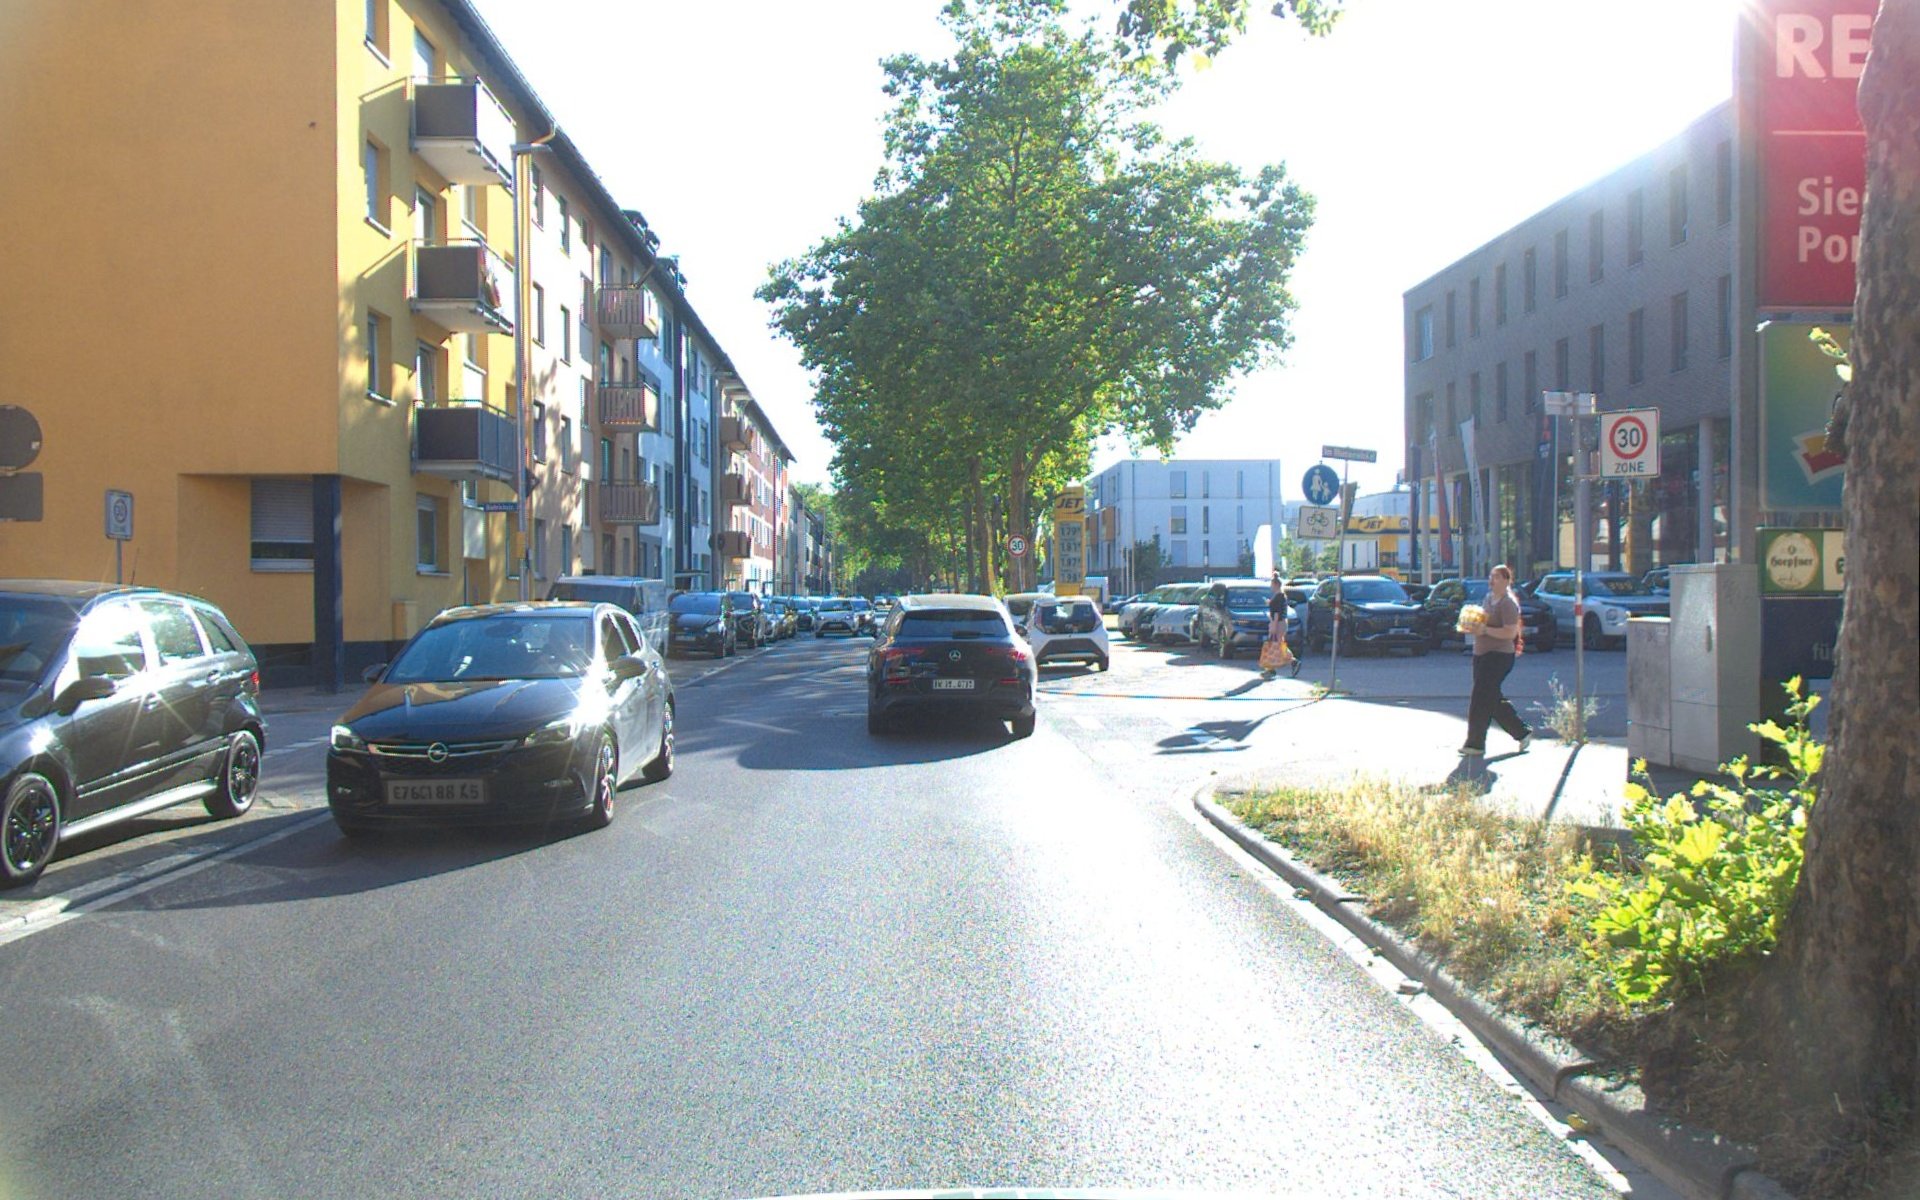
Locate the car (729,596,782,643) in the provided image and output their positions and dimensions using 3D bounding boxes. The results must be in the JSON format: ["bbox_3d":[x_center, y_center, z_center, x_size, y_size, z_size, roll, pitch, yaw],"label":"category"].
[{"bbox_3d":[-7.035,0.642,57.226,1.517,1.550,4.003,1,0,-3],"label":"car"}]

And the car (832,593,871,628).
[{"bbox_3d":[-5.121,0.454,78.468,1.630,1.550,4.410,-2,0,-2],"label":"car"}]

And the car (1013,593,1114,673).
[{"bbox_3d":[2.084,0.659,34.336,1.602,1.493,4.018,-2,0,-3],"label":"car"}]

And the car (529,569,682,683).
[{"bbox_3d":[-6.484,0.436,30.799,1.698,1.940,5.208,0,0,0],"label":"car"}]

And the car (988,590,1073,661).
[{"bbox_3d":[1.699,0.617,41.174,1.774,1.565,4.582,-3,0,-1],"label":"car"}]

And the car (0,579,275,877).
[{"bbox_3d":[-5.819,0.651,10.015,1.643,1.550,4.021,1,0,0],"label":"car"}]

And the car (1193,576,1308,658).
[{"bbox_3d":[6.454,0.348,37.152,1.717,1.699,4.156,-1,0,-2],"label":"car"}]

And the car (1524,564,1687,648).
[{"bbox_3d":[14.631,0.119,37.732,1.838,1.764,4.177,-1,0,-4],"label":"car"}]

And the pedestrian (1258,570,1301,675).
[{"bbox_3d":[5.414,0.376,27.980,0.677,1.753,0.722,-1,0,12],"label":"pedestrian"}]

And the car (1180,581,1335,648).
[{"bbox_3d":[7.457,0.336,41.346,3.776,1.572,1.642,-1,0,-36],"label":"car"}]

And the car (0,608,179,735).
[{"bbox_3d":[-12.680,0.937,22.023,3.707,1.594,1.748,-1,0,-1],"label":"car"}]

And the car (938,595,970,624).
[{"bbox_3d":[-0.343,0.549,93.878,1.600,1.585,3.599,1,0,-3],"label":"car"}]

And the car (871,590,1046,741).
[{"bbox_3d":[0.078,0.641,18.361,1.708,1.469,3.970,1,0,3],"label":"car"}]

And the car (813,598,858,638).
[{"bbox_3d":[-4.983,0.702,66.554,1.606,1.550,3.932,0,0,-2],"label":"car"}]

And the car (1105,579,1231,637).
[{"bbox_3d":[6.419,0.224,50.800,3.783,1.606,1.722,-2,1,-40],"label":"car"}]

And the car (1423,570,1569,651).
[{"bbox_3d":[12.028,0.215,37.410,1.693,1.714,4.177,-1,0,-4],"label":"car"}]

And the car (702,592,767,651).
[{"bbox_3d":[-6.778,0.622,50.059,1.565,1.669,4.410,1,0,-3],"label":"car"}]

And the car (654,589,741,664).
[{"bbox_3d":[-6.742,0.643,42.861,1.710,1.819,4.546,1,0,-3],"label":"car"}]

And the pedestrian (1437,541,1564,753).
[{"bbox_3d":[4.762,0.397,14.592,0.757,1.792,0.659,-2,0,-23],"label":"pedestrian"}]

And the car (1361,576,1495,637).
[{"bbox_3d":[12.906,0.154,45.576,3.780,1.537,1.621,-2,1,-38],"label":"car"}]

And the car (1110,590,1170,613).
[{"bbox_3d":[12.511,0.120,115.296,3.908,1.556,1.806,0,-1,-4],"label":"car"}]

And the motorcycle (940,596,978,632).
[{"bbox_3d":[-0.043,0.624,74.594,1.620,1.585,0.607,1,-1,-24],"label":"motorcycle"}]

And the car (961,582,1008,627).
[{"bbox_3d":[0.914,0.179,62.870,1.528,1.624,3.599,1,0,-3],"label":"car"}]

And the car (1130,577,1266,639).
[{"bbox_3d":[6.805,0.207,47.133,3.783,1.606,1.716,-2,1,-40],"label":"car"}]

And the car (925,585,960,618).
[{"bbox_3d":[-1.135,0.107,107.095,1.955,2.049,3.995,0,-1,-5],"label":"car"}]

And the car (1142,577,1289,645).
[{"bbox_3d":[6.812,0.276,43.944,3.780,1.638,1.718,-2,1,-38],"label":"car"}]

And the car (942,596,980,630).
[{"bbox_3d":[0.030,0.644,81.828,1.687,1.585,3.599,1,0,-3],"label":"car"}]

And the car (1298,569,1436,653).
[{"bbox_3d":[9.095,0.217,37.313,1.789,1.762,4.364,-1,0,-4],"label":"car"}]

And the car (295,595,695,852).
[{"bbox_3d":[-3.131,0.731,12.083,1.735,1.504,4.321,-1,0,-1],"label":"car"}]

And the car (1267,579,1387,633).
[{"bbox_3d":[11.520,0.170,51.802,3.780,1.537,1.621,-2,1,-38],"label":"car"}]

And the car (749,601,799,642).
[{"bbox_3d":[-7.095,0.788,63.414,1.564,1.459,4.215,1,0,-2],"label":"car"}]
